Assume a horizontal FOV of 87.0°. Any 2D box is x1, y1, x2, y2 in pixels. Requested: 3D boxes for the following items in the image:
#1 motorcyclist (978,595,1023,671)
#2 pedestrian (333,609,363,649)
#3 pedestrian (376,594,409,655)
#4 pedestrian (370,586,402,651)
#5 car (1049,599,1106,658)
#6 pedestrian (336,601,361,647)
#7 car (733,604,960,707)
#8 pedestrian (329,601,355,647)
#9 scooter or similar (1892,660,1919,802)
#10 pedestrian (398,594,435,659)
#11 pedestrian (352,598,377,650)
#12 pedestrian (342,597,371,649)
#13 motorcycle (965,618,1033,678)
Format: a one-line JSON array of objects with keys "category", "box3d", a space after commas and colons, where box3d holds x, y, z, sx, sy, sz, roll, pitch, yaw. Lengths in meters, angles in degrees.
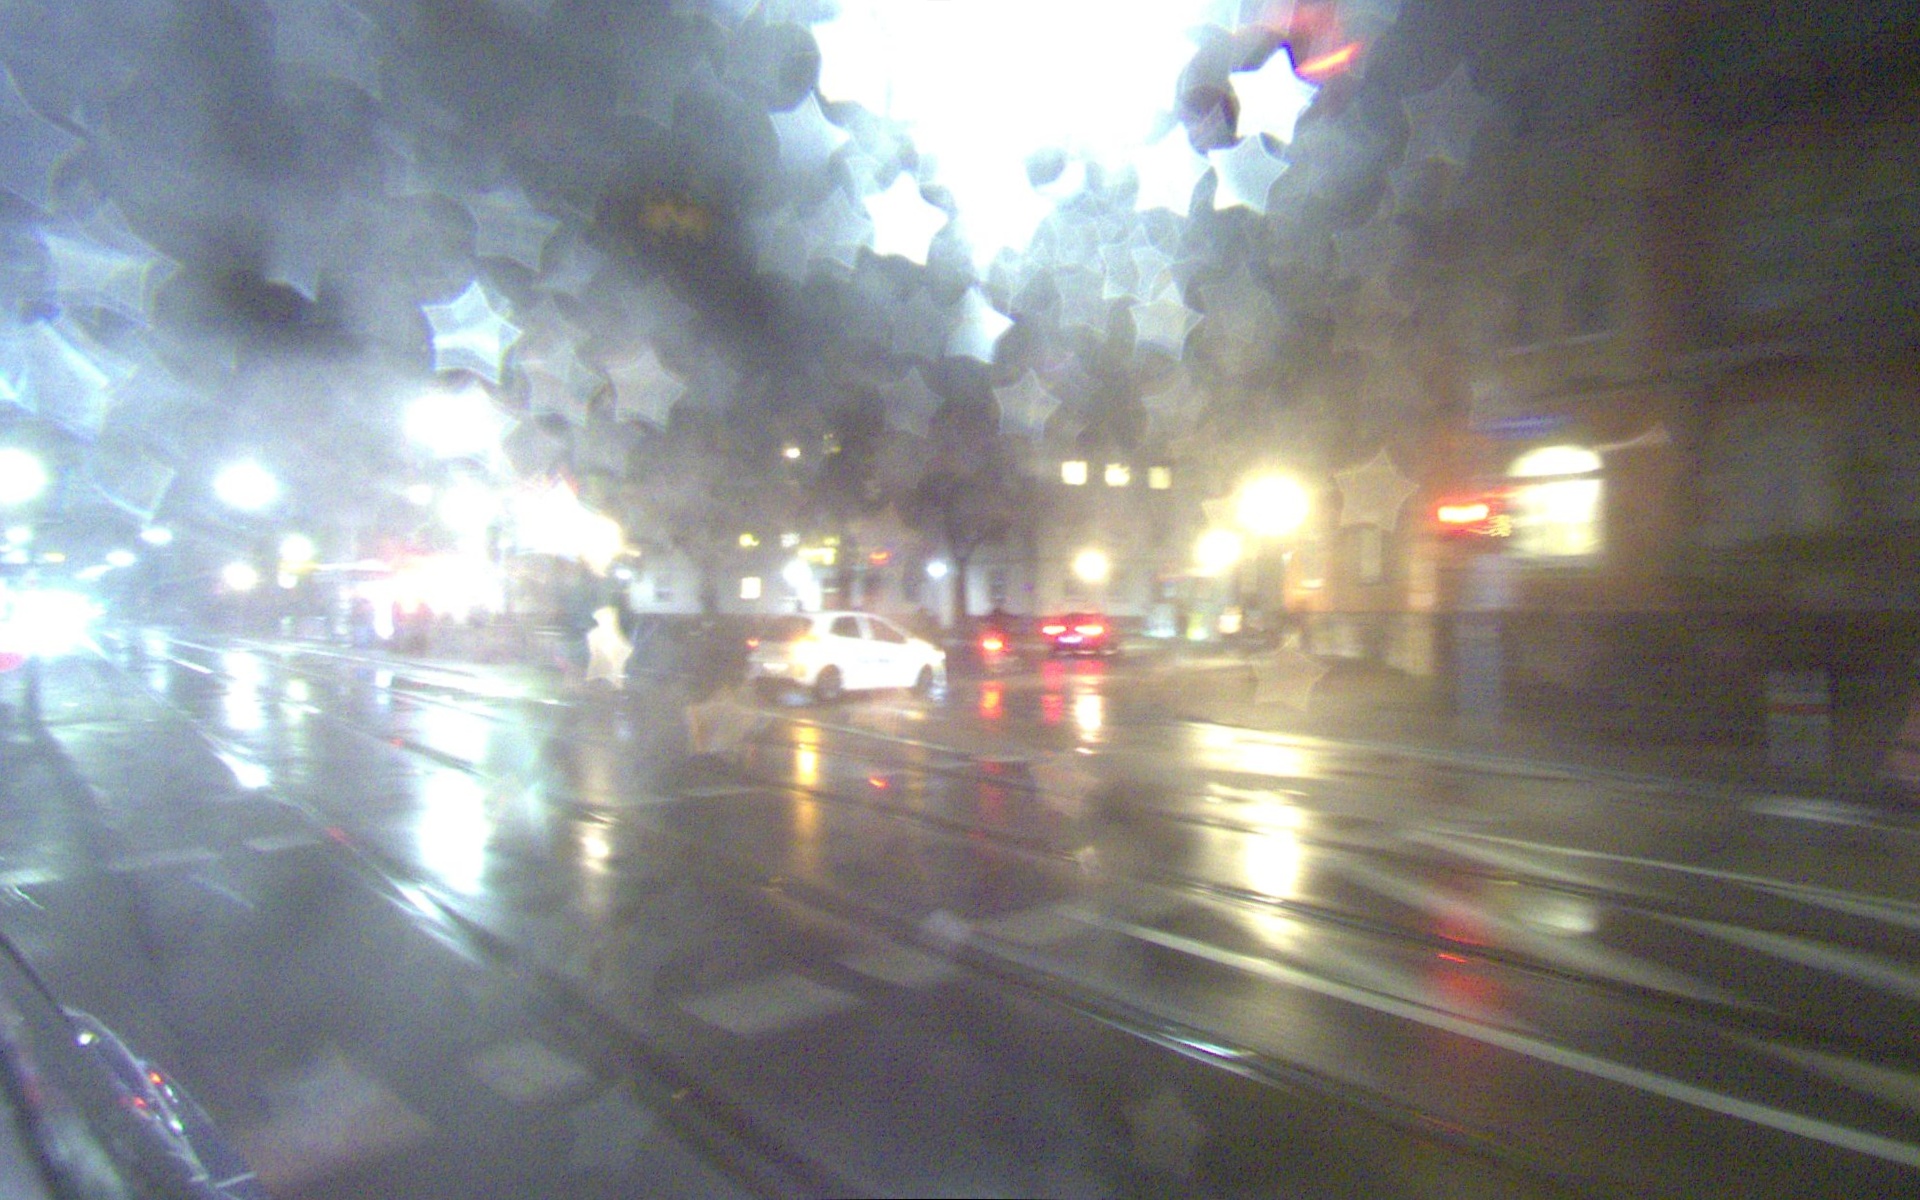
[{"category": "motorcyclist", "box3d": [0.947, 0.751, 23.565, 0.788, 1.707, 0.813, 1, 1, 26]}, {"category": "pedestrian", "box3d": [-20.402, 0.962, 33.733, 0.616, 1.263, 0.584, -1, 2, 4]}, {"category": "pedestrian", "box3d": [-17.158, 0.734, 30.609, 0.706, 1.787, 0.672, -2, 2, -40]}, {"category": "pedestrian", "box3d": [-18.124, 0.574, 31.943, 0.859, 2.001, 0.601, 0, 2, 44]}, {"category": "car", "box3d": [3.784, 0.879, 33.086, 1.732, 1.752, 3.794, 0, 1, 5]}, {"category": "pedestrian", "box3d": [-20.903, 0.815, 34.606, 0.584, 1.539, 0.475, 0, 2, 30]}, {"category": "car", "box3d": [-1.861, 0.851, 17.378, 1.923, 1.527, 3.550, 0, 0, 39]}, {"category": "pedestrian", "box3d": [-21.322, 0.812, 34.920, 0.573, 1.559, 0.507, 0, 2, 30]}, {"category": "scooter or similar", "box3d": [8.057, 1.049, 7.646, 0.631, 1.060, 1.373, -2, 2, -32]}, {"category": "pedestrian", "box3d": [-15.590, 0.746, 29.042, 0.716, 1.787, 0.662, 0, 2, 37]}, {"category": "pedestrian", "box3d": [-19.329, 0.779, 32.848, 0.526, 1.641, 0.399, -1, 1, 4]}, {"category": "pedestrian", "box3d": [-19.776, 0.761, 33.159, 0.552, 1.664, 0.584, -1, 2, 4]}, {"category": "motorcycle", "box3d": [0.935, 1.083, 23.565, 0.787, 1.222, 2.231, 1, 1, 25]}]
